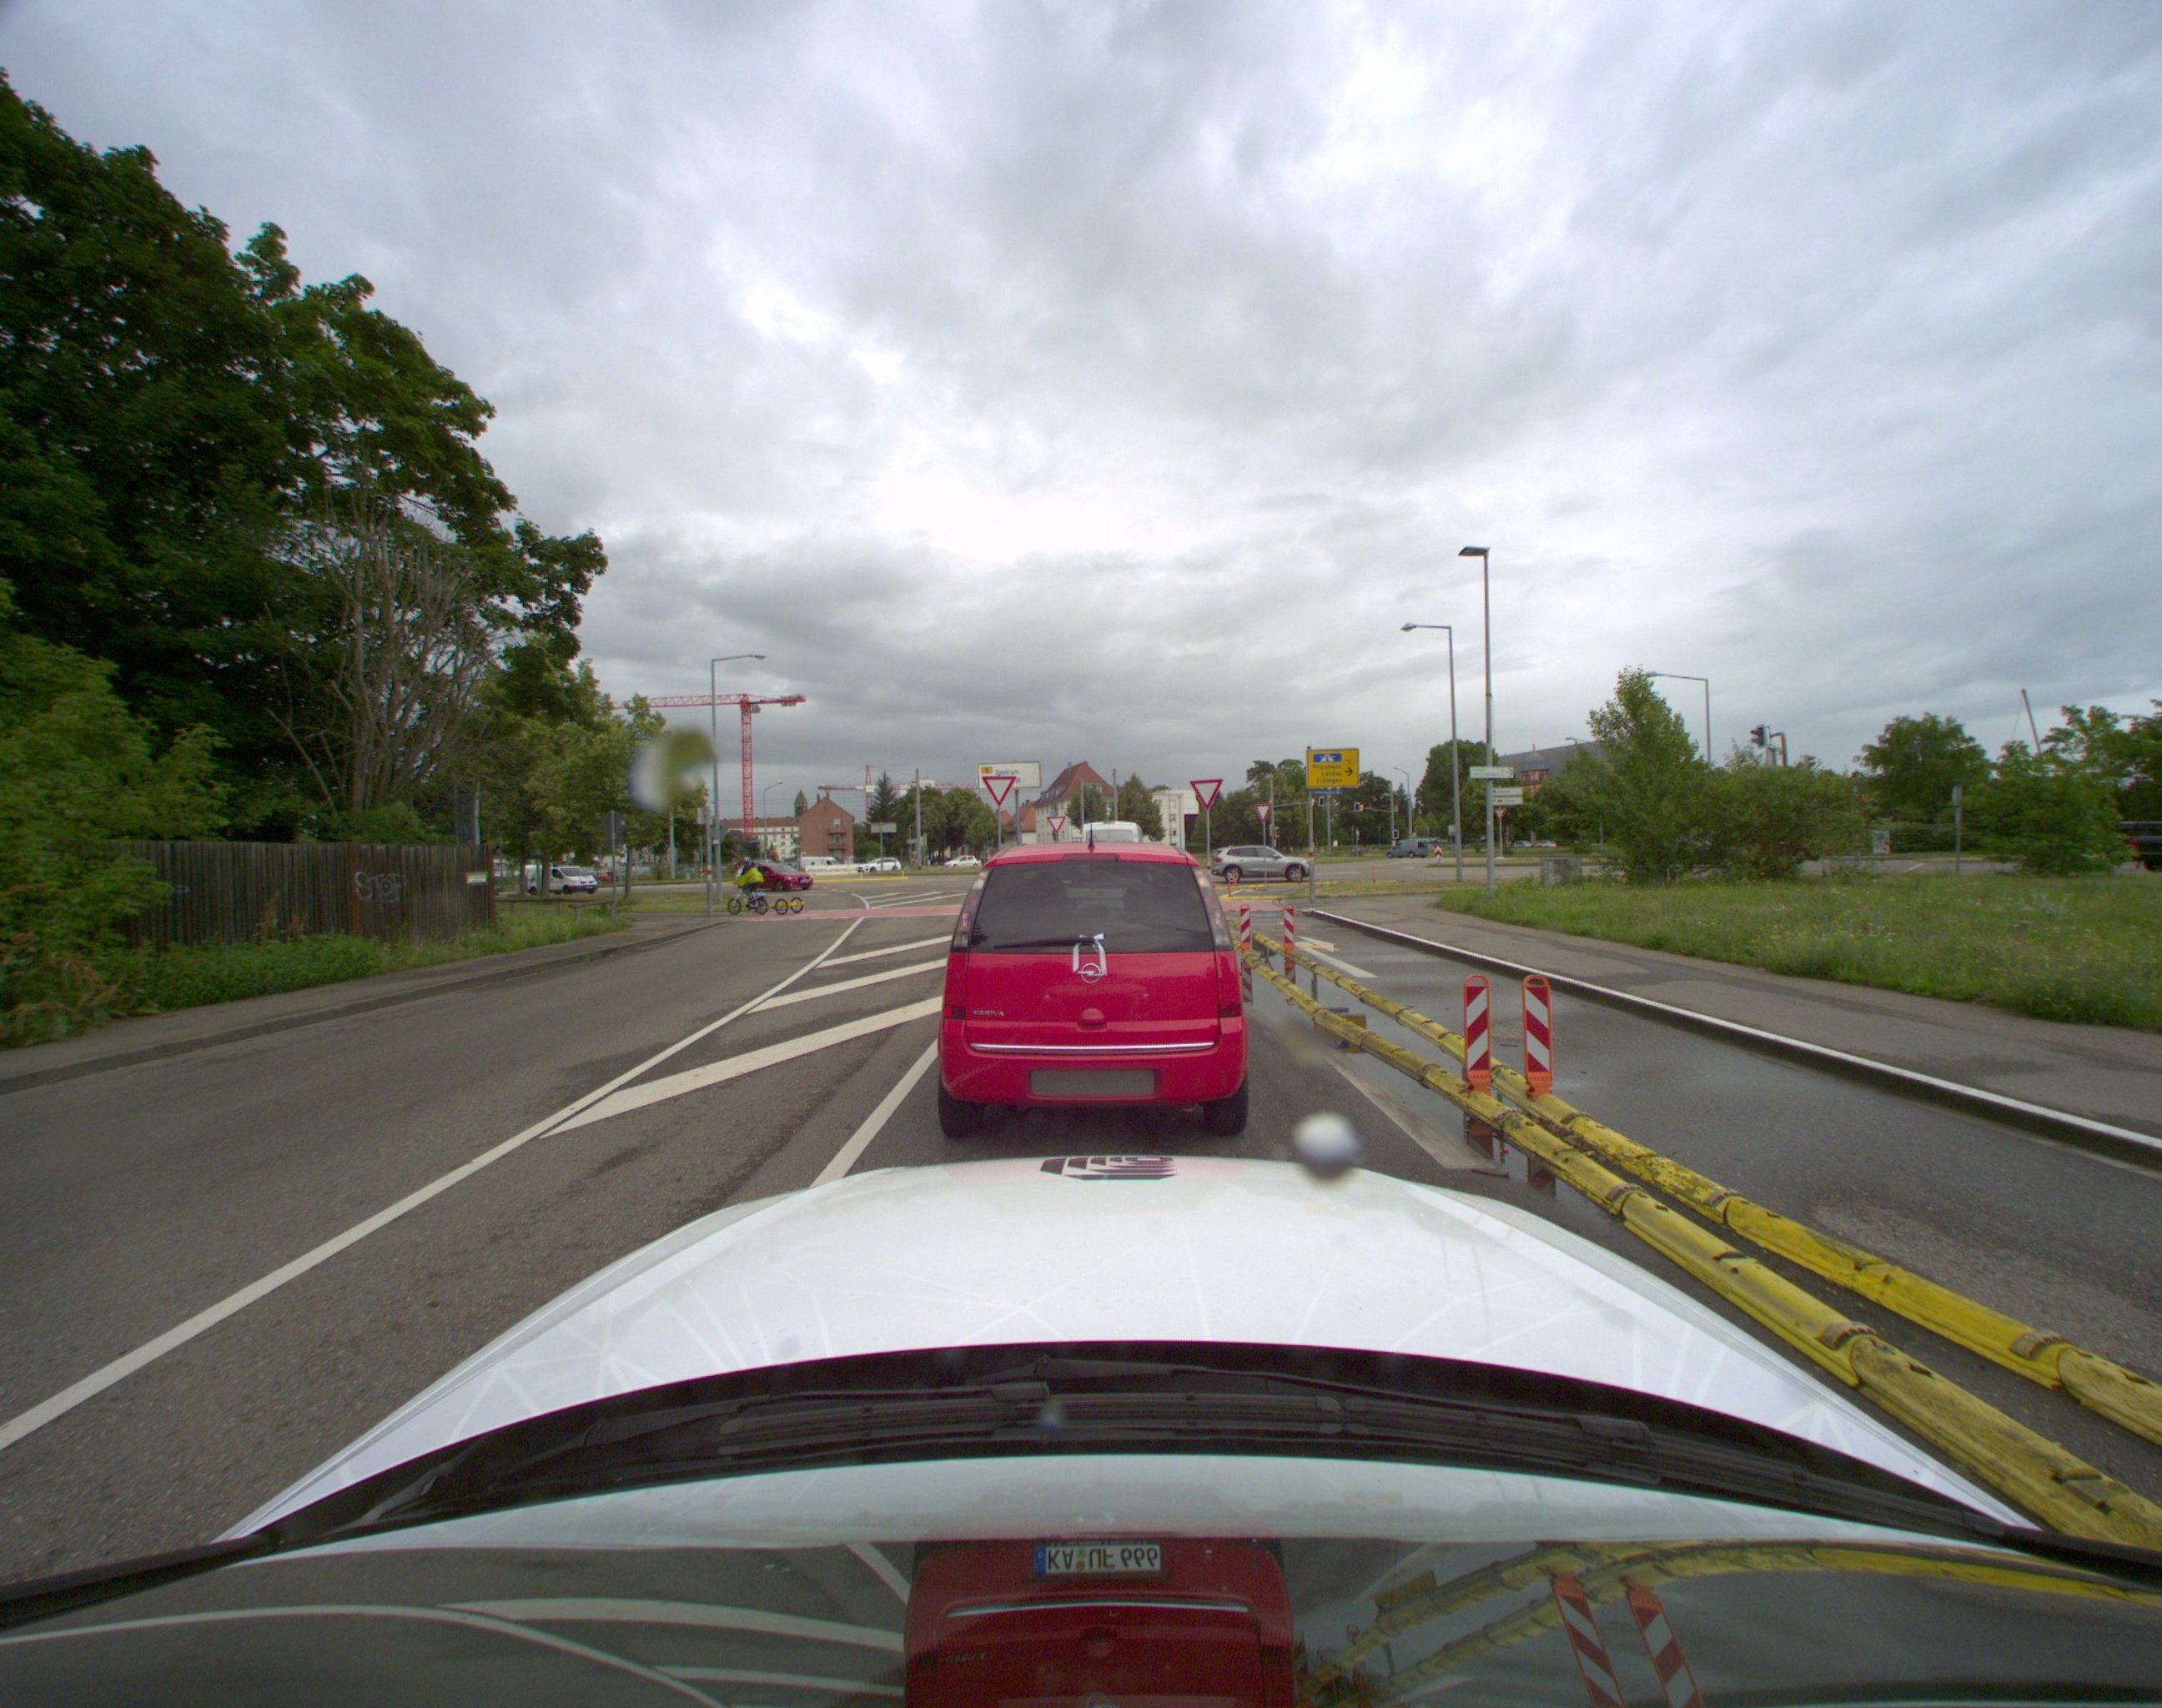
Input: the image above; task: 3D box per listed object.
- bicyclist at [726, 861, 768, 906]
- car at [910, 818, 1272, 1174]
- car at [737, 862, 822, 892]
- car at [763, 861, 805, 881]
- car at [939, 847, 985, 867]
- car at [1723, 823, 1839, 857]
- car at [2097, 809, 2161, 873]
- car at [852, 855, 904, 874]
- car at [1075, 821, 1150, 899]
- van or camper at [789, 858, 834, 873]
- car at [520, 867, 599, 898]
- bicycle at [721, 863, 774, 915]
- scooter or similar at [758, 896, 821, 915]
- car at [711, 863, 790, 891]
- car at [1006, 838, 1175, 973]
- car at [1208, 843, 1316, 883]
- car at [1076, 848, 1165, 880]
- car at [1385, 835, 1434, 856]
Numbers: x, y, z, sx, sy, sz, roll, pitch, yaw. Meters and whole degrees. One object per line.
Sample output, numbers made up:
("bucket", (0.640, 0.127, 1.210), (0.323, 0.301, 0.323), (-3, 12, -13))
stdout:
("bicyclist", (-10.750, 0.939, 26.248), (1.053, 1.401, 0.618), (-2, 0, 18))
("car", (0.101, 0.657, 5.603), (1.667, 1.640, 3.628), (-1, 0, 2))
("car", (-16.205, 1.243, 43.787), (4.301, 1.464, 2.013), (-2, 0, 31))
("car", (-25.206, 1.427, 69.185), (1.923, 1.489, 4.002), (-2, 0, 2))
("car", (-13.029, 0.298, 89.274), (4.502, 2.013, 1.977), (-2, 0, -38))
("car", (42.175, -0.808, 49.225), (2.121, 1.917, 4.846), (-2, 0, -28))
("car", (35.905, -0.483, 25.308), (4.977, 1.972, 2.238), (-2, 0, 39))
("car", (-20.191, 1.032, 81.283), (1.974, 1.635, 4.704), (-2, 0, 41))
("car", (1.228, 0.186, 29.073), (2.183, 2.540, 4.973), (-1, 0, 7))
("van or camper", (-40.202, 1.758, 121.462), (6.135, 2.013, 2.007), (-2, 0, 12))
("car", (-34.753, 1.888, 54.246), (4.789, 1.900, 2.111), (-2, 0, 24))
("bicycle", (-10.746, 1.132, 26.258), (1.465, 1.612, 0.609), (-2, 0, 18))
("scooter or similar", (-9.214, 1.633, 25.780), (1.595, 0.504, 0.928), (-2, 0, 16))
("car", (-20.297, 1.397, 50.112), (3.962, 1.508, 2.006), (-2, 0, 10))
("car", (0.187, 0.627, 12.306), (2.052, 1.648, 4.609), (-1, 0, 2))
("car", (7.951, 0.406, 36.111), (4.493, 1.583, 2.004), (-2, 0, 7))
("car", (2.059, 0.500, 41.747), (4.282, 1.464, 2.005), (-2, 0, 9))
("car", (33.650, -0.828, 83.513), (2.004, 2.013, 4.439), (-2, 0, -26))
